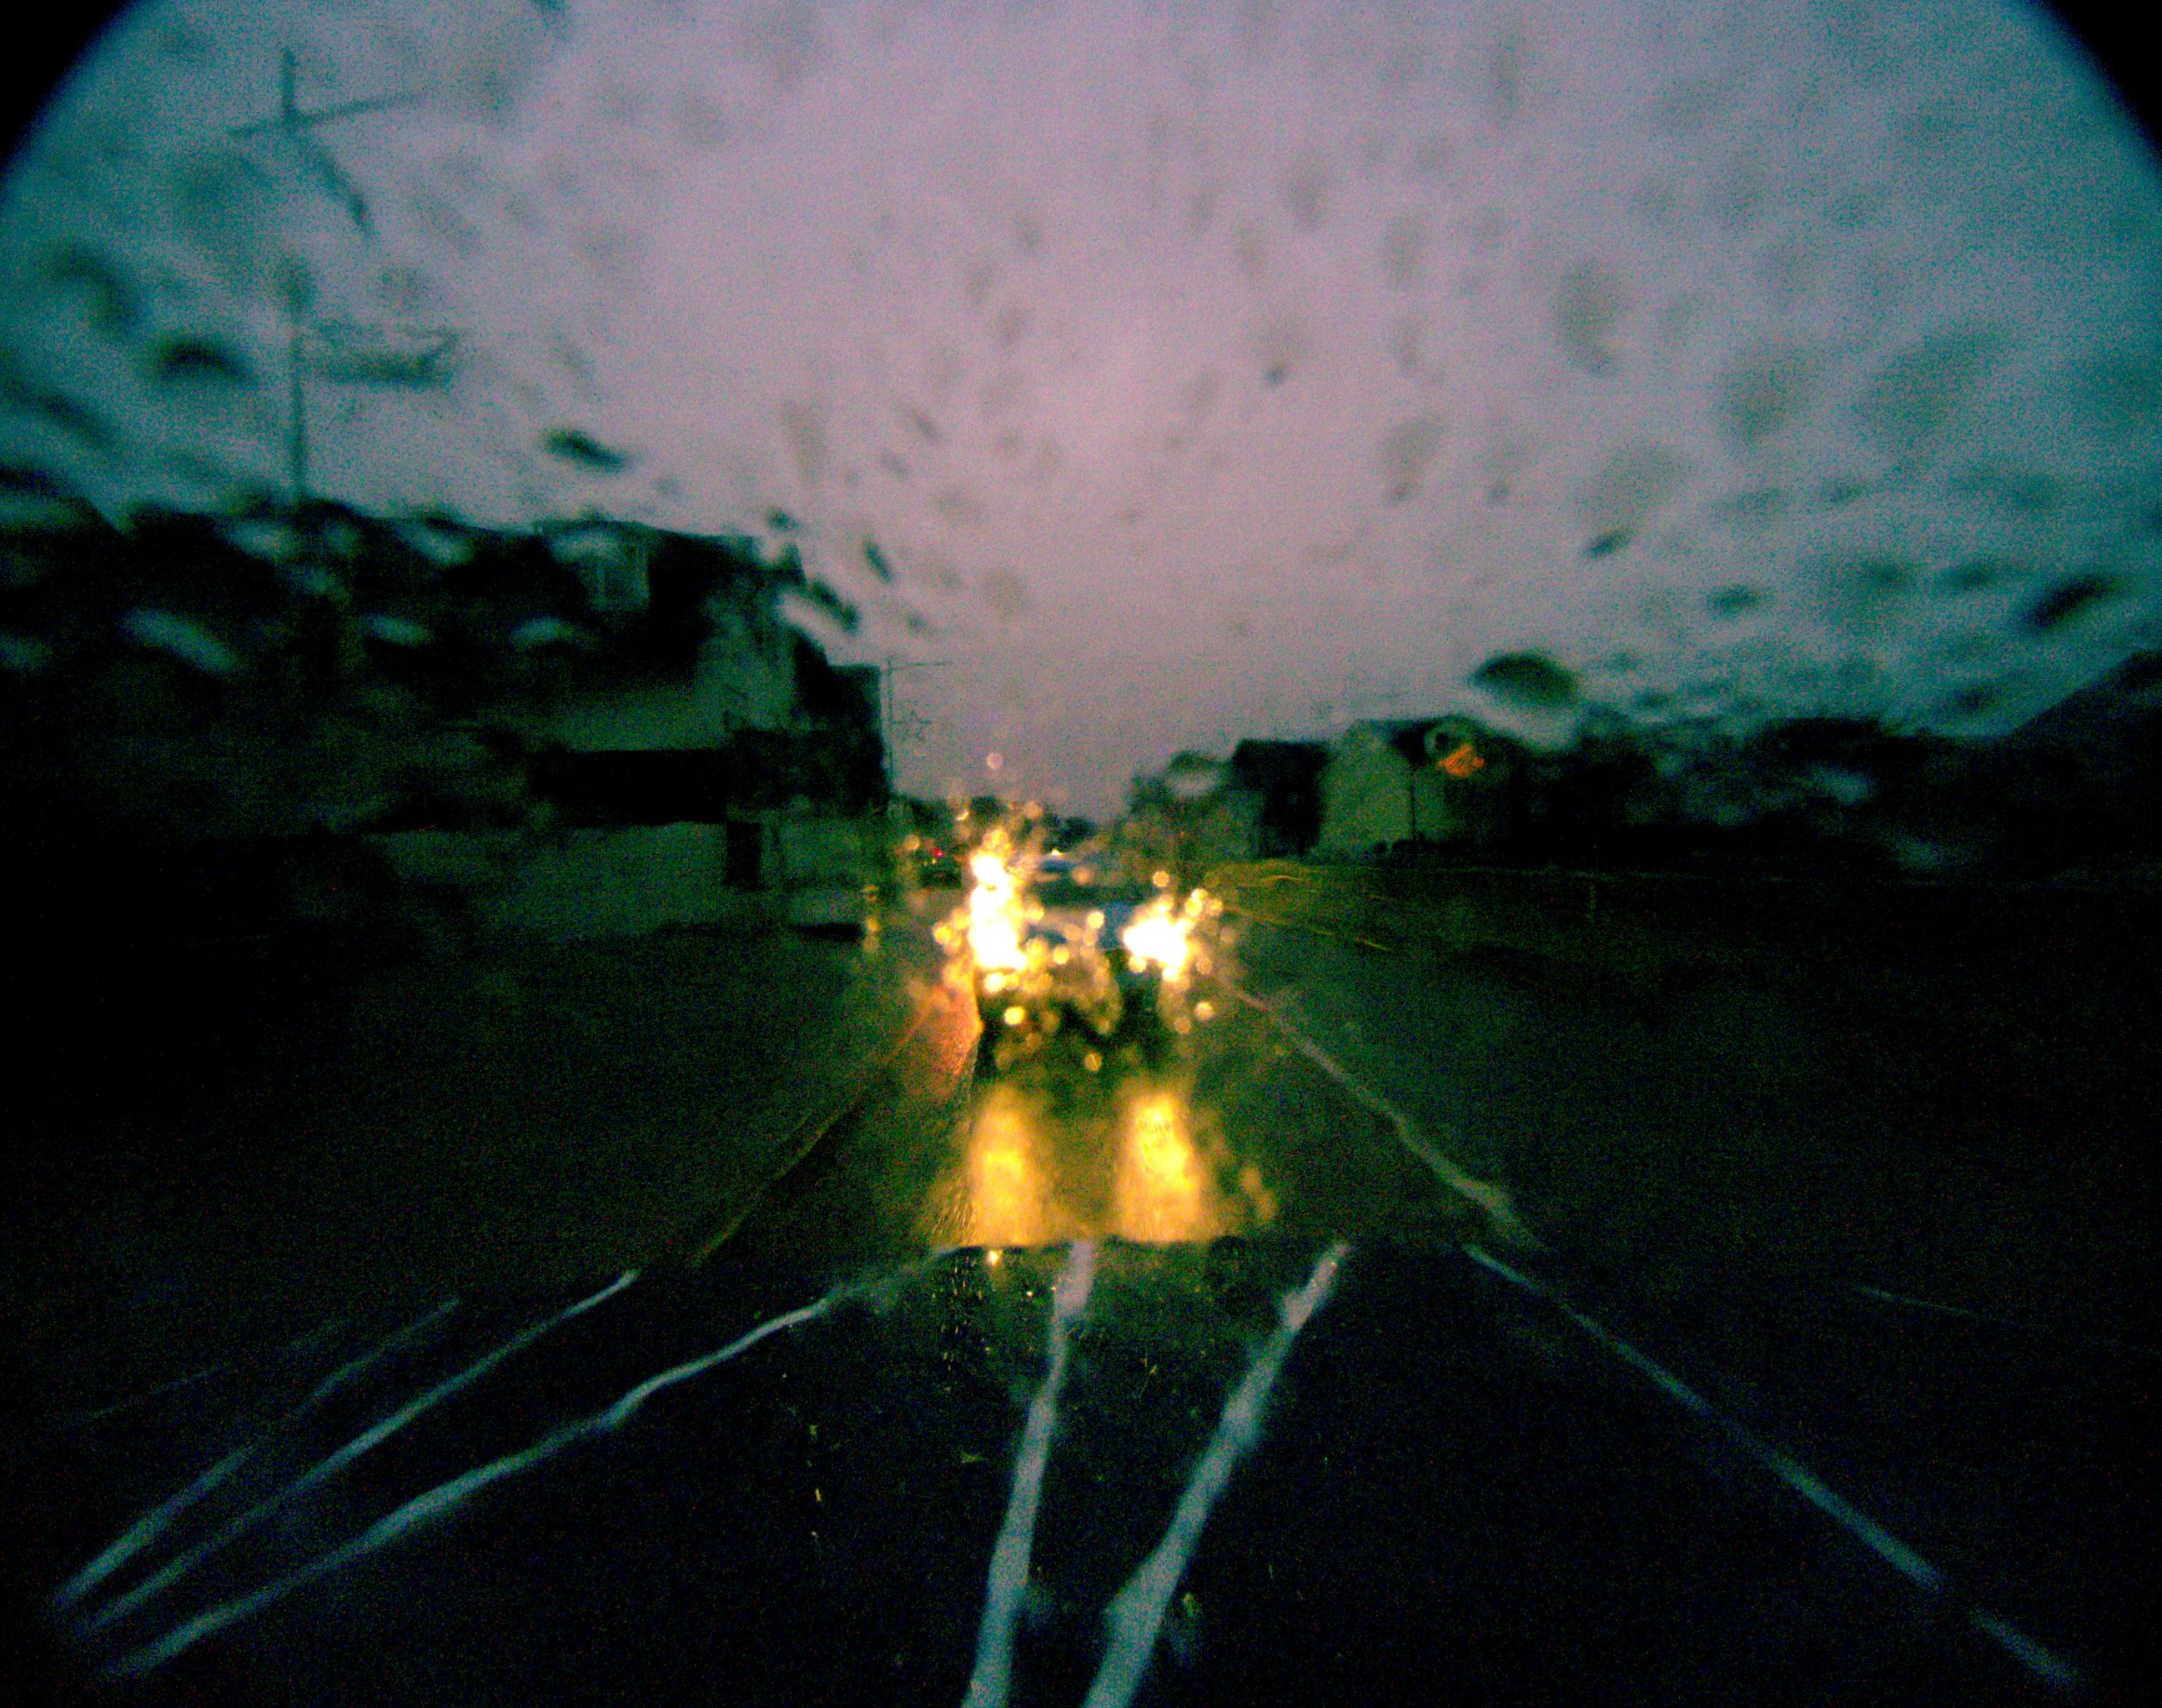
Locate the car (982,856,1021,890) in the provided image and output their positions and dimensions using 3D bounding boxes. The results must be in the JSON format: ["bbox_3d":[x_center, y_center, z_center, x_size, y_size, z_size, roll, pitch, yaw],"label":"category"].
[{"bbox_3d":[-3.866,0.861,36.577,1.573,1.460,3.613,-3,1,-10],"label":"car"}]

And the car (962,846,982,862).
[{"bbox_3d":[-14.417,-0.045,100.762,2.001,2.002,3.994,-2,1,-16],"label":"car"}]

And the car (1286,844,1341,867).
[{"bbox_3d":[15.431,0.099,50.671,1.677,1.460,4.012,1,0,-15],"label":"car"}]

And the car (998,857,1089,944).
[{"bbox_3d":[-0.926,0.895,16.534,1.682,1.614,3.998,-2,0,-7],"label":"car"}]

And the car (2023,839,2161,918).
[{"bbox_3d":[21.293,0.453,14.769,1.479,1.500,3.501,-1,1,-7],"label":"car"}]

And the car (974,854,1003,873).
[{"bbox_3d":[-7.702,0.778,63.039,1.673,1.513,3.994,0,-1,-18],"label":"car"}]

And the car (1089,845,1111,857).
[{"bbox_3d":[2.424,-0.350,98.637,1.801,1.460,4.251,-1,1,-15],"label":"car"}]

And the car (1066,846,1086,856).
[{"bbox_3d":[-0.722,-0.436,109.212,1.801,1.460,4.251,-1,1,-16],"label":"car"}]

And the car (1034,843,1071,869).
[{"bbox_3d":[-2.328,0.158,61.188,2.001,2.002,3.994,-2,1,-16],"label":"car"}]

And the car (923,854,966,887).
[{"bbox_3d":[-6.869,0.800,38.533,1.848,1.577,3.767,-1,0,-6],"label":"car"}]

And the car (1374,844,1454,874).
[{"bbox_3d":[17.535,0.248,40.265,1.800,1.460,4.253,-1,1,-11],"label":"car"}]

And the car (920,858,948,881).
[{"bbox_3d":[-8.686,0.892,44.831,1.498,1.283,3.288,-1,0,-12],"label":"car"}]

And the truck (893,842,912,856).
[{"bbox_3d":[-27.018,-0.707,114.835,2.148,2.001,4.528,0,-1,-22],"label":"truck"}]

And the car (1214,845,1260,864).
[{"bbox_3d":[12.690,-0.002,62.200,1.801,1.460,4.610,-1,1,-15],"label":"car"}]

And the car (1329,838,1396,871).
[{"bbox_3d":[16.631,0.026,45.122,1.800,1.816,4.253,-1,1,-11],"label":"car"}]

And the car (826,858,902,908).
[{"bbox_3d":[-6.972,0.883,24.761,1.777,1.488,3.776,1,0,-6],"label":"car"}]

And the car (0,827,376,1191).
[{"bbox_3d":[-7.097,0.642,4.311,4.152,1.625,1.753,6,-1,-9],"label":"car"}]

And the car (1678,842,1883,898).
[{"bbox_3d":[20.534,0.408,22.591,1.800,1.460,4.253,-1,1,-11],"label":"car"}]

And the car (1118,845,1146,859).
[{"bbox_3d":[5.618,-0.270,84.089,1.801,1.460,4.251,-1,1,-15],"label":"car"}]

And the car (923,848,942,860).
[{"bbox_3d":[-18.545,0.033,94.686,1.756,1.409,3.748,0,-1,-21],"label":"car"}]

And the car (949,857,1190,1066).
[{"bbox_3d":[-0.070,0.878,8.104,1.888,1.570,4.000,-2,1,1],"label":"car"}]

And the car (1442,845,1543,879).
[{"bbox_3d":[18.793,0.325,34.949,1.800,1.460,4.253,-1,1,-11],"label":"car"}]
